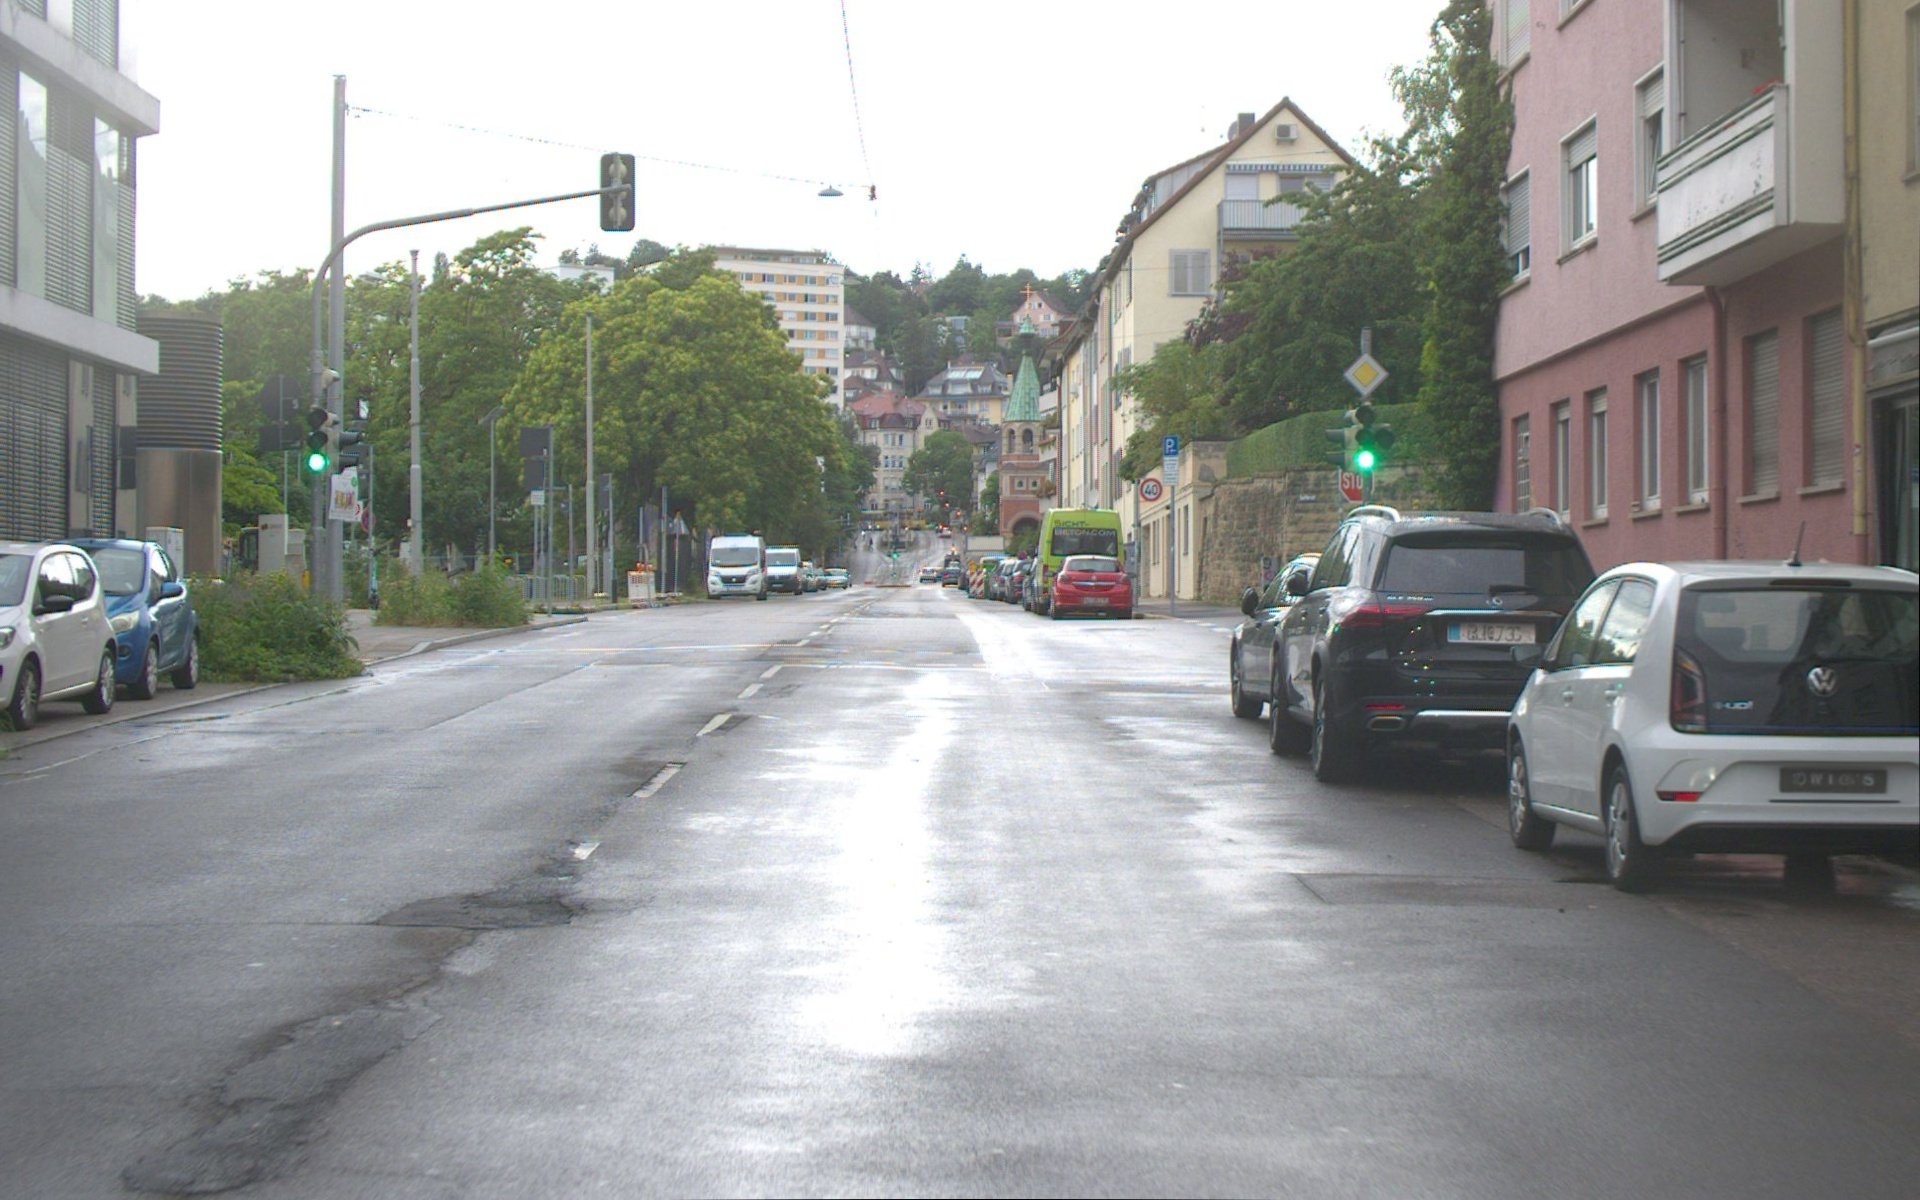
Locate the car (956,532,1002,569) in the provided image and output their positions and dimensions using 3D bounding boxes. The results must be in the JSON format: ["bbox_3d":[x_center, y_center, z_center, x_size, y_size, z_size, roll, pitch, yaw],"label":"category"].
[{"bbox_3d":[0.858,-2.209,152.815,1.867,1.598,4.189,1,1,2],"label":"car"}]

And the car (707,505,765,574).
[{"bbox_3d":[-8.452,-2.298,130.169,2.105,2.537,4.751,1,1,-3],"label":"car"}]

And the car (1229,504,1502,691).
[{"bbox_3d":[3.344,-0.073,28.990,1.781,1.405,3.763,-1,2,-1],"label":"car"}]

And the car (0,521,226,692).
[{"bbox_3d":[-8.466,0.012,33.623,1.866,1.520,4.197,1,2,-3],"label":"car"}]

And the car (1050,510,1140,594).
[{"bbox_3d":[2.923,-1.042,74.593,1.867,1.764,4.189,1,1,2],"label":"car"}]

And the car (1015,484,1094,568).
[{"bbox_3d":[2.319,-1.783,83.725,1.867,1.966,4.189,1,1,2],"label":"car"}]

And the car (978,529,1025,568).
[{"bbox_3d":[1.767,-2.147,144.640,1.867,1.598,4.189,1,1,2],"label":"car"}]

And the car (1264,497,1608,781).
[{"bbox_3d":[3.097,0.178,23.120,1.654,1.732,4.180,0,2,-1],"label":"car"}]

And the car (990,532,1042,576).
[{"bbox_3d":[2.116,-1.729,129.291,1.867,1.598,4.189,1,1,2],"label":"car"}]

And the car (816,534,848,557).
[{"bbox_3d":[-8.979,-3.847,241.355,2.035,1.583,4.359,1,1,-4],"label":"car"}]

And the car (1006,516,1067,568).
[{"bbox_3d":[2.474,-1.842,109.927,1.867,1.598,4.189,1,1,2],"label":"car"}]

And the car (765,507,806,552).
[{"bbox_3d":[-8.581,-3.449,169.024,1.866,2.134,4.359,1,1,-4],"label":"car"}]

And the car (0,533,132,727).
[{"bbox_3d":[-8.103,0.193,28.369,1.595,1.454,3.719,1,2,1],"label":"car"}]

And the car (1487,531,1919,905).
[{"bbox_3d":[3.641,0.465,16.336,1.635,1.566,3.711,1,1,-1],"label":"car"}]
